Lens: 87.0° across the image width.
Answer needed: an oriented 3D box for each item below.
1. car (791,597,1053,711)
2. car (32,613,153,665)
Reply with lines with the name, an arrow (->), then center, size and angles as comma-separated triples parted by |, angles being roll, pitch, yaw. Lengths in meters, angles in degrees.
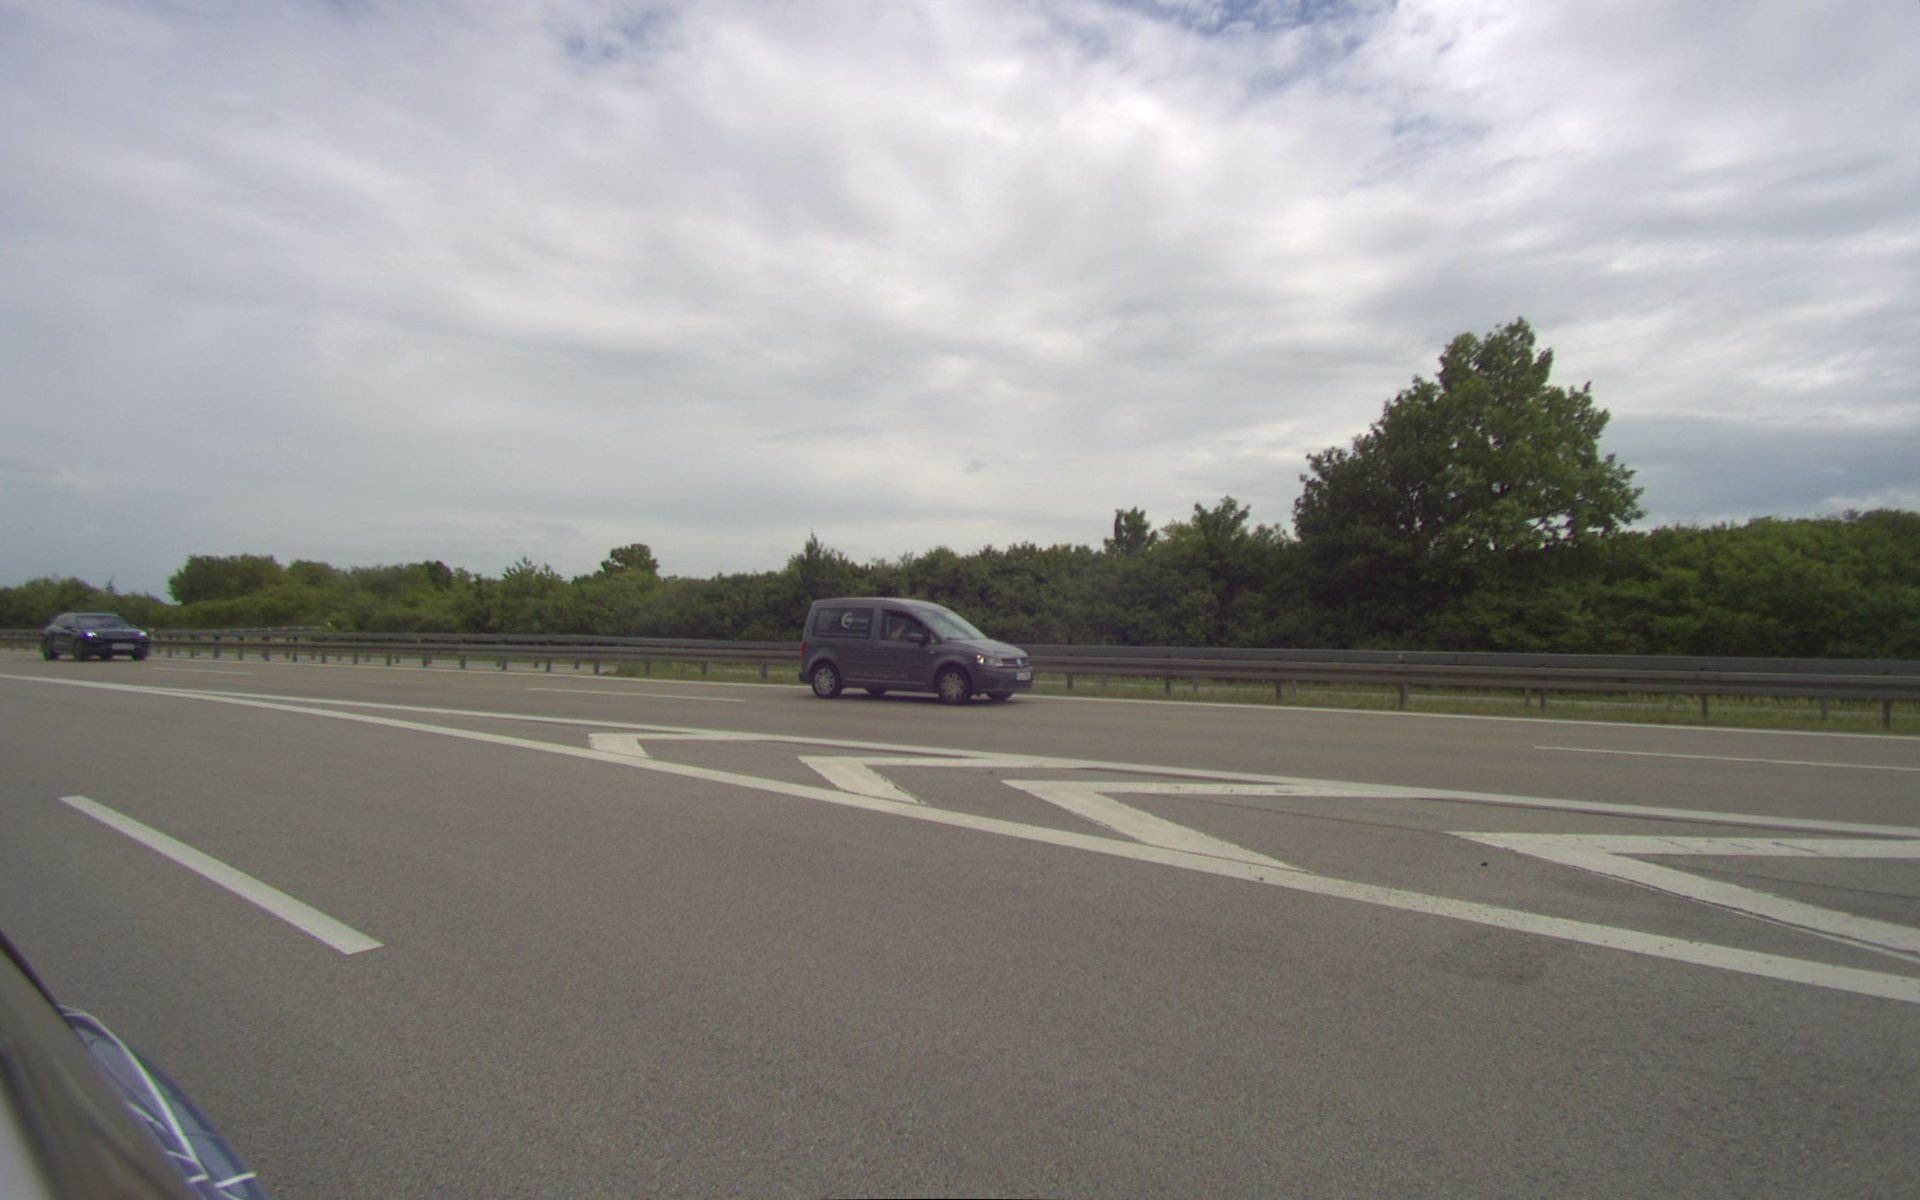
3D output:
car -> -0.712, 0.889, 17.688 | 4.321, 1.772, 1.831 | -1, -2, 32
car -> -31.514, 1.404, 36.719 | 4.813, 1.757, 1.978 | -1, -3, 32
